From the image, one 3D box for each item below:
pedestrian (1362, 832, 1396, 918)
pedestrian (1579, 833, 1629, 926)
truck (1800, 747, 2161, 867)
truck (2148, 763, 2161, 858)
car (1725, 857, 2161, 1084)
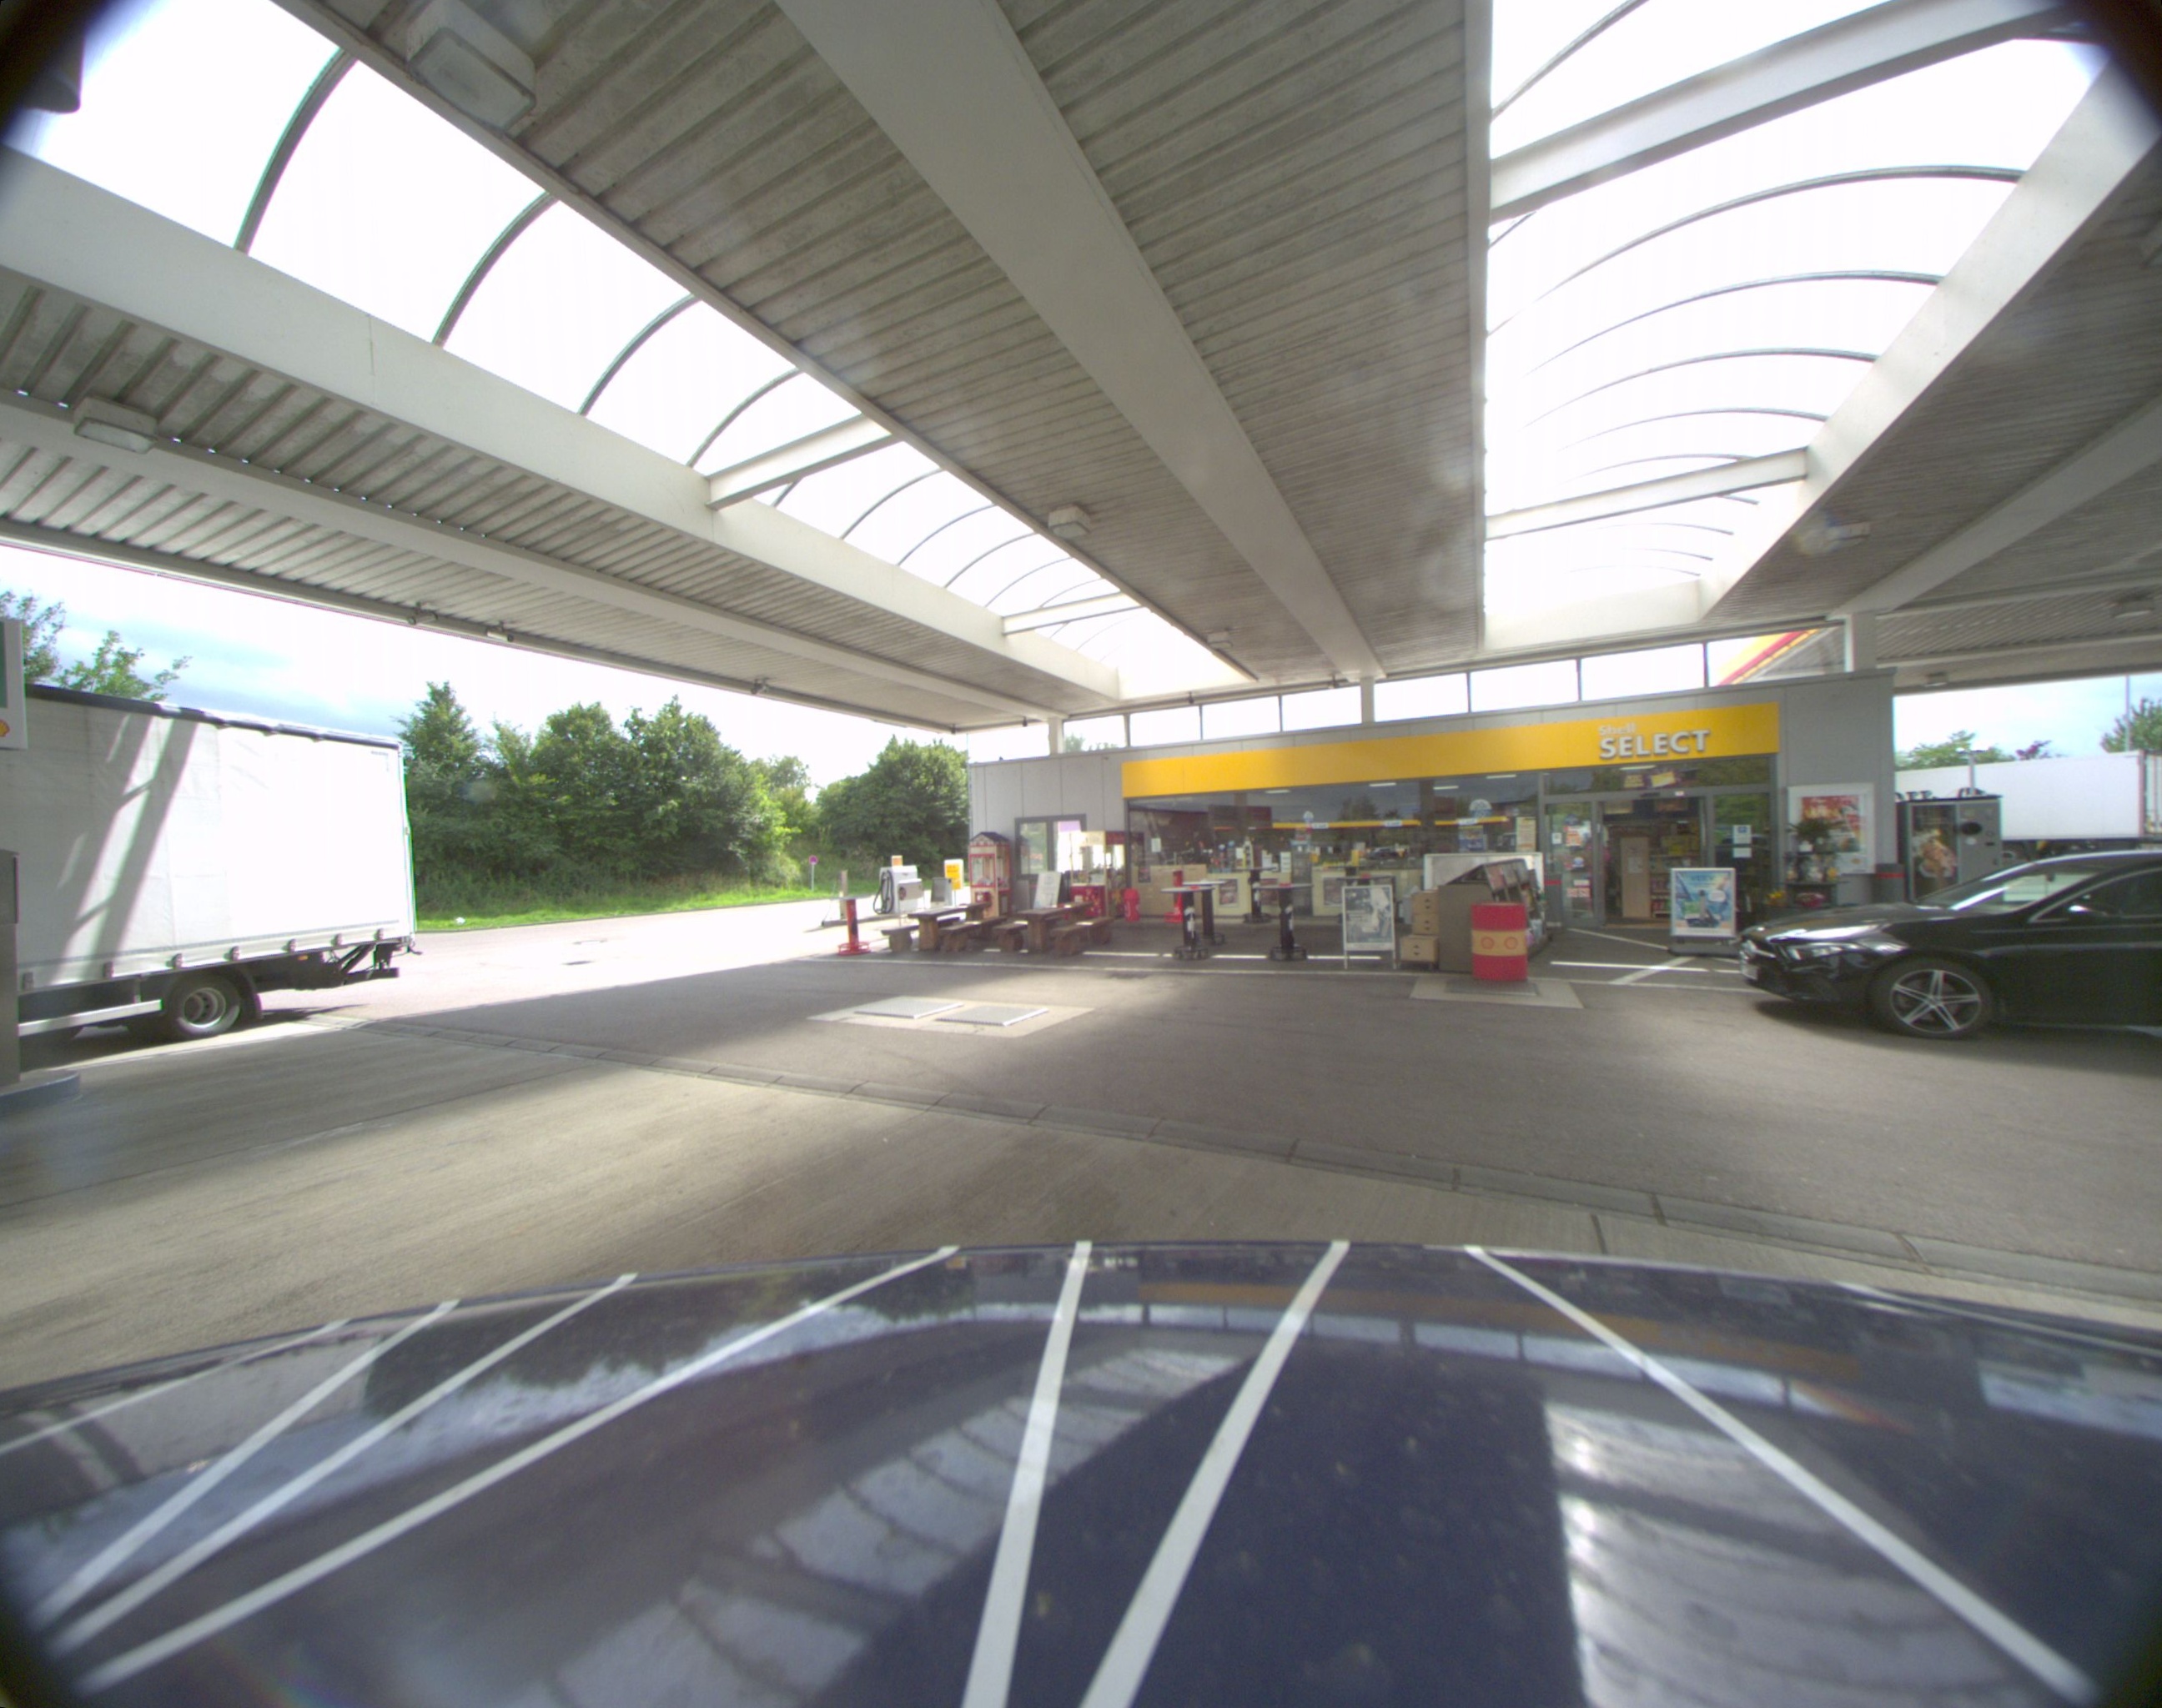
[{"bbox_3d":[6.723,0.471,17.161,0.580,1.895,0.509,-2,1,13],"label":"pedestrian"},{"bbox_3d":[9.825,0.472,14.287,0.626,1.703,0.623,-2,1,23],"label":"pedestrian"},{"bbox_3d":[35.117,-1.604,30.054,2.796,3.982,9.578,-2,1,-16],"label":"truck"},{"bbox_3d":[51.466,-2.028,33.135,3.383,4.479,6.239,-2,1,29],"label":"truck"},{"bbox_3d":[8.135,0.817,5.919,4.461,1.491,1.782,-2,1,28],"label":"car"}]
